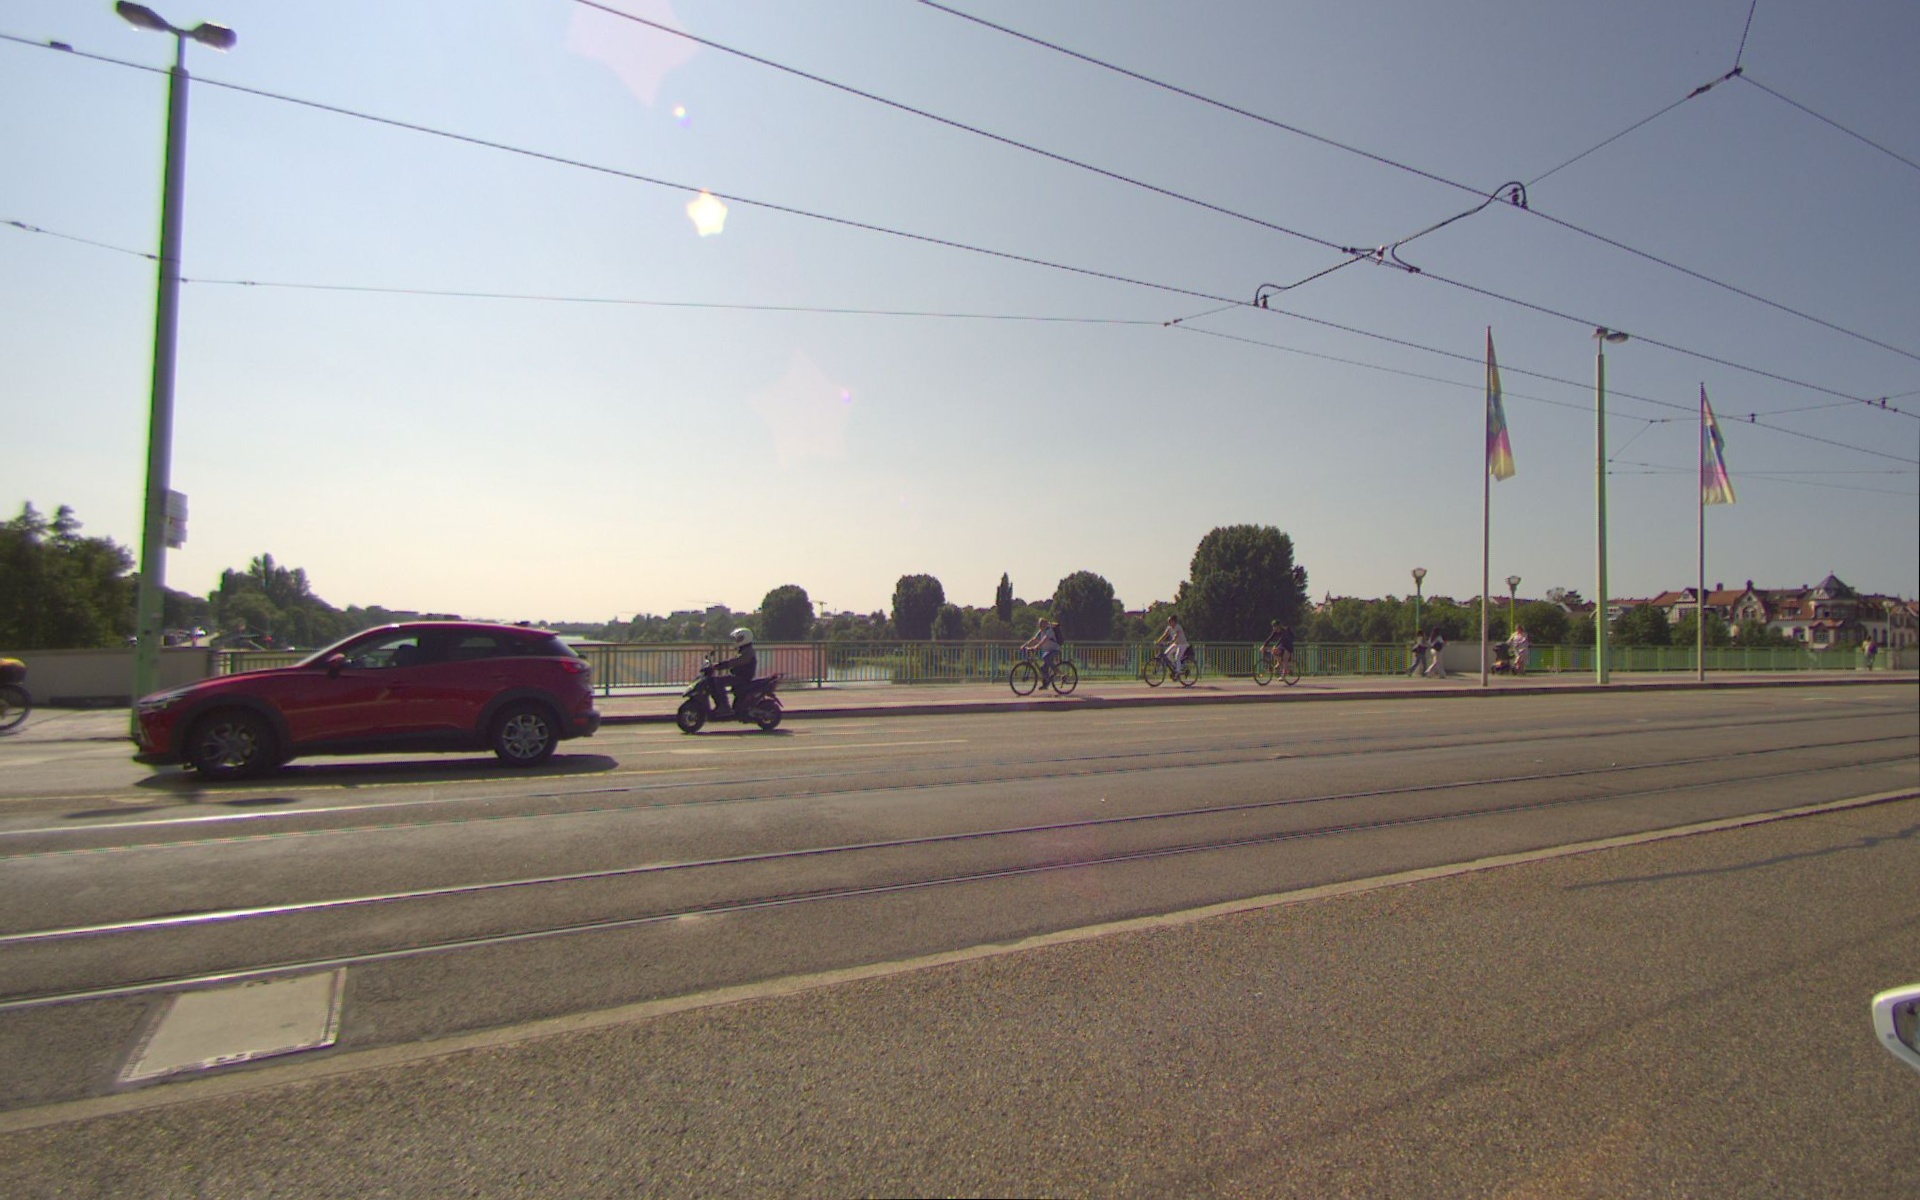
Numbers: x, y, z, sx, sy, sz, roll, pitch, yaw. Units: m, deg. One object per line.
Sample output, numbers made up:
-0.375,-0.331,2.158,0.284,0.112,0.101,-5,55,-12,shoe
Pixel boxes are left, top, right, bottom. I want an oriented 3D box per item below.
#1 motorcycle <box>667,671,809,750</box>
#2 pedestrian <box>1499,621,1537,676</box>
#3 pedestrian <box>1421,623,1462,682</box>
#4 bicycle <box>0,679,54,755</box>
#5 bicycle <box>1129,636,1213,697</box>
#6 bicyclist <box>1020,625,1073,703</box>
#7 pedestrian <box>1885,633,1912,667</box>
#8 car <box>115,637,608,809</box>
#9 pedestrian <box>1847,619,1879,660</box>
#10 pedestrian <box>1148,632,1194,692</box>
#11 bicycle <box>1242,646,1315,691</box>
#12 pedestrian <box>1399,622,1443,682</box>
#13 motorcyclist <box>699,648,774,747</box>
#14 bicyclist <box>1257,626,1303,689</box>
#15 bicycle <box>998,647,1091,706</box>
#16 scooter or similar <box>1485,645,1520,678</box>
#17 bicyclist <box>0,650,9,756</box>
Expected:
-3.347,1.639,15.161,1.929,1.038,0.840,1,-1,-31,motorcycle
19.507,1.684,35.135,0.964,1.878,0.735,0,2,-32,pedestrian
15.302,1.640,31.931,0.946,1.808,0.735,0,2,-32,pedestrian
-15.306,1.834,15.440,0.746,1.128,1.920,0,-1,20,bicycle
5.340,1.651,25.378,2.139,1.418,0.701,1,2,-32,bicycle
1.869,1.374,21.778,0.762,1.630,0.874,-1,-2,-27,bicyclist
49.273,2.616,52.738,1.162,1.745,0.750,2,-1,-32,pedestrian
-6.024,1.197,10.726,4.131,1.534,1.989,1,-4,-24,car
45.025,1.971,50.073,1.030,2.040,0.894,1,-1,-32,pedestrian
5.319,1.560,25.366,0.888,1.474,0.740,1,-2,-29,pedestrian
8.414,1.785,26.524,1.897,1.128,0.755,1,-2,-30,bicycle
14.910,1.660,32.488,1.108,1.874,0.734,0,2,-32,pedestrian
-3.374,1.441,15.152,0.888,1.420,0.840,1,-2,-31,motorcyclist
8.445,1.506,26.551,0.762,1.630,0.873,1,-2,-29,bicyclist
1.837,1.629,21.793,1.895,1.129,0.756,-1,1,-28,bicycle
18.730,2.122,34.669,0.823,1.043,0.735,0,2,-32,scooter or similar
-15.320,1.587,15.371,0.862,1.630,0.772,0,-1,18,bicyclist
